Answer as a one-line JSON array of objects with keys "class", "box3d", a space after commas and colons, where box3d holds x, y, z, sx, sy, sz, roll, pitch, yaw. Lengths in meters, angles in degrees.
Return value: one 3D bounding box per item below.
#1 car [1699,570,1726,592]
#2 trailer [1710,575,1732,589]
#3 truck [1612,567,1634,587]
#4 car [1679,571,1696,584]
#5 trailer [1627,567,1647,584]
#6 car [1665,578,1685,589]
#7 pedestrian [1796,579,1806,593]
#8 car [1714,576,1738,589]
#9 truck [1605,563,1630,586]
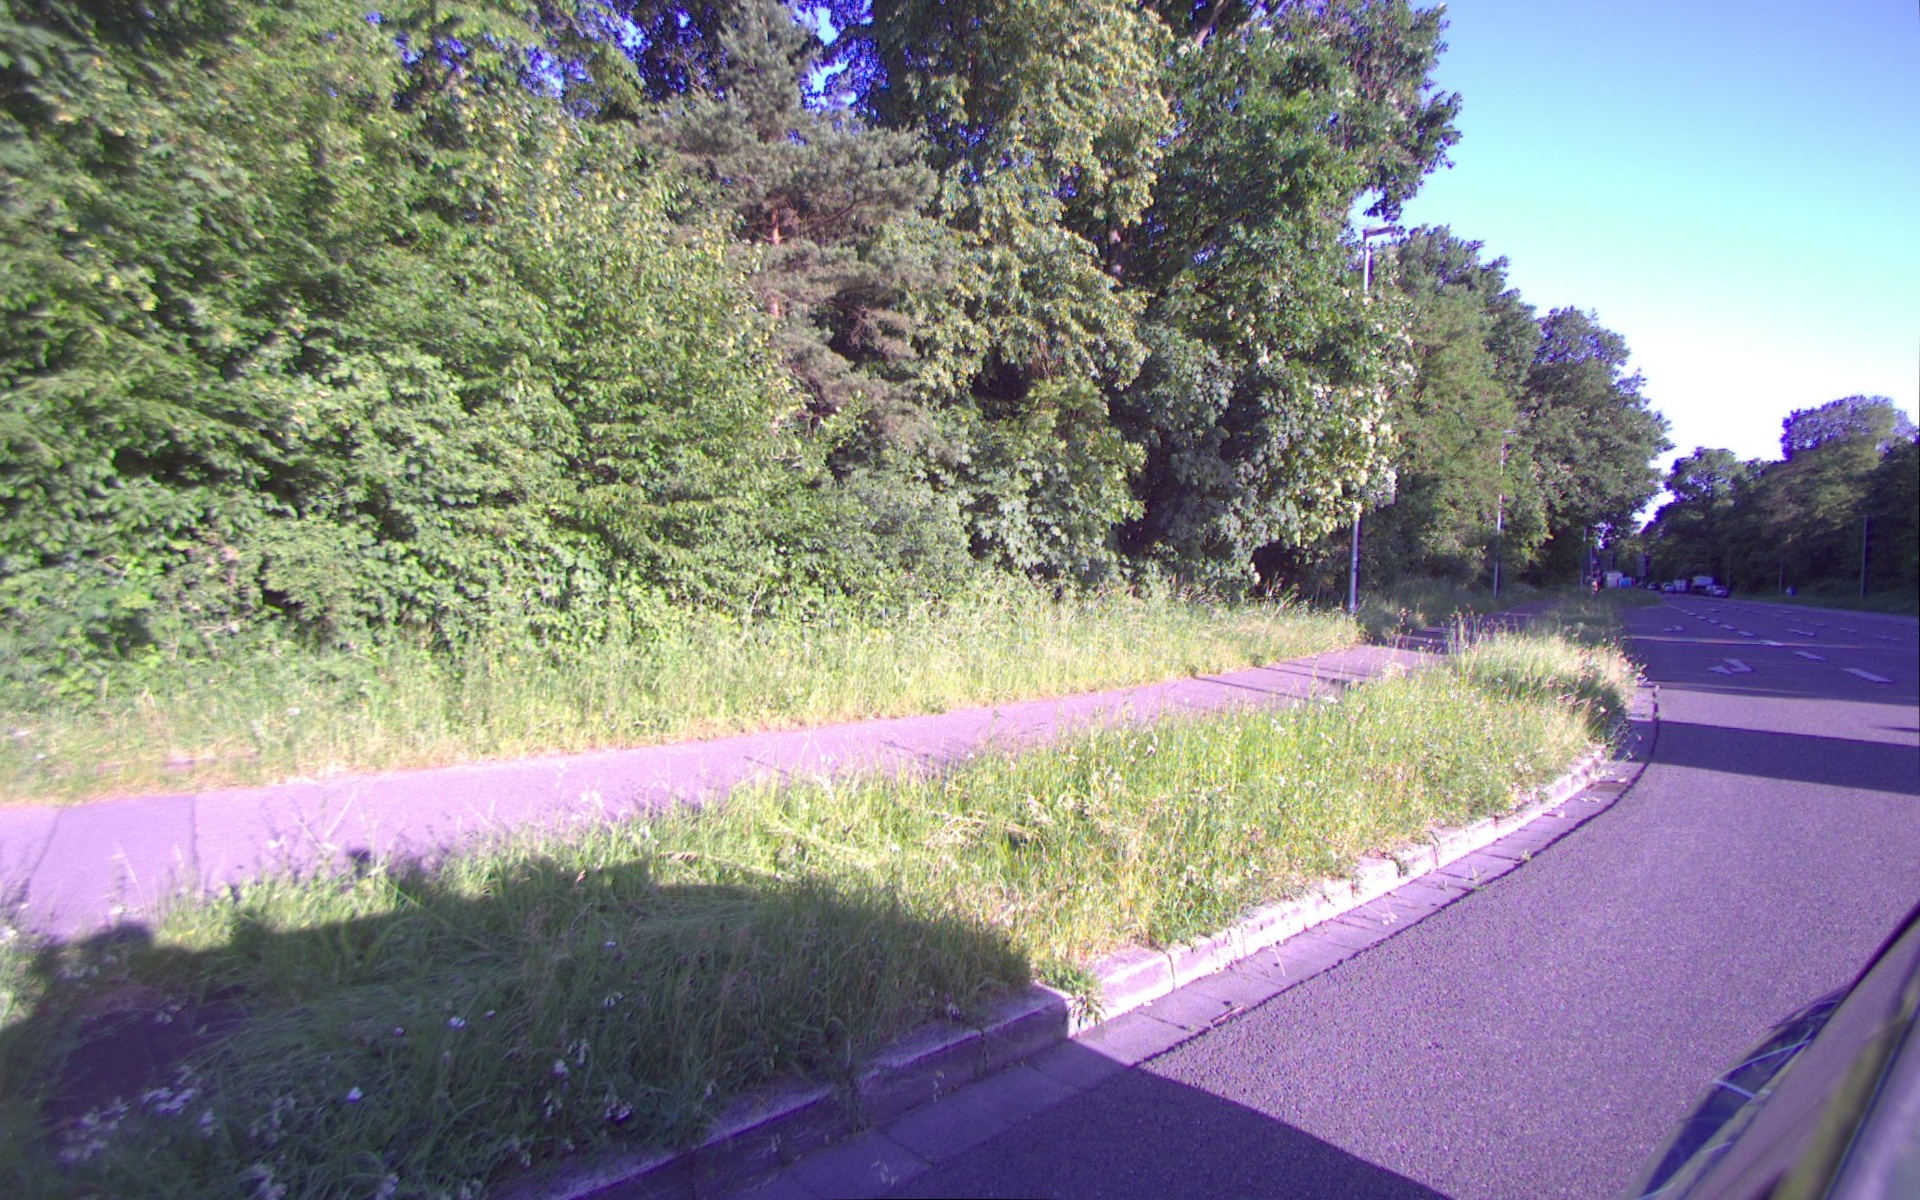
[{"class": "car", "box3d": [109.535, -2.794, 147.328, 2.442, 2.881, 4.750, 4, 4, 29]}, {"class": "trailer", "box3d": [102.956, -2.414, 137.016, 1.793, 1.750, 3.610, 4, 4, 29]}, {"class": "truck", "box3d": [98.260, -3.478, 150.132, 2.371, 2.907, 5.542, 0, 2, 30]}, {"class": "car", "box3d": [125.700, -3.889, 174.911, 1.679, 2.126, 4.585, 4, 4, 29]}, {"class": "trailer", "box3d": [89.976, -3.324, 134.495, 1.855, 2.204, 4.087, 1, 2, 30]}, {"class": "car", "box3d": [106.944, -2.519, 151.432, 1.818, 1.473, 4.436, 3, 3, 28]}, {"class": "pedestrian", "box3d": [95.888, -1.591, 115.339, 0.709, 1.584, 0.816, 4, 3, 33]}, {"class": "car", "box3d": [100.718, -2.304, 133.078, 1.900, 1.481, 3.971, 4, 4, 29]}, {"class": "truck", "box3d": [102.875, -4.022, 158.341, 2.685, 3.276, 7.056, 4, 4, 29]}]
